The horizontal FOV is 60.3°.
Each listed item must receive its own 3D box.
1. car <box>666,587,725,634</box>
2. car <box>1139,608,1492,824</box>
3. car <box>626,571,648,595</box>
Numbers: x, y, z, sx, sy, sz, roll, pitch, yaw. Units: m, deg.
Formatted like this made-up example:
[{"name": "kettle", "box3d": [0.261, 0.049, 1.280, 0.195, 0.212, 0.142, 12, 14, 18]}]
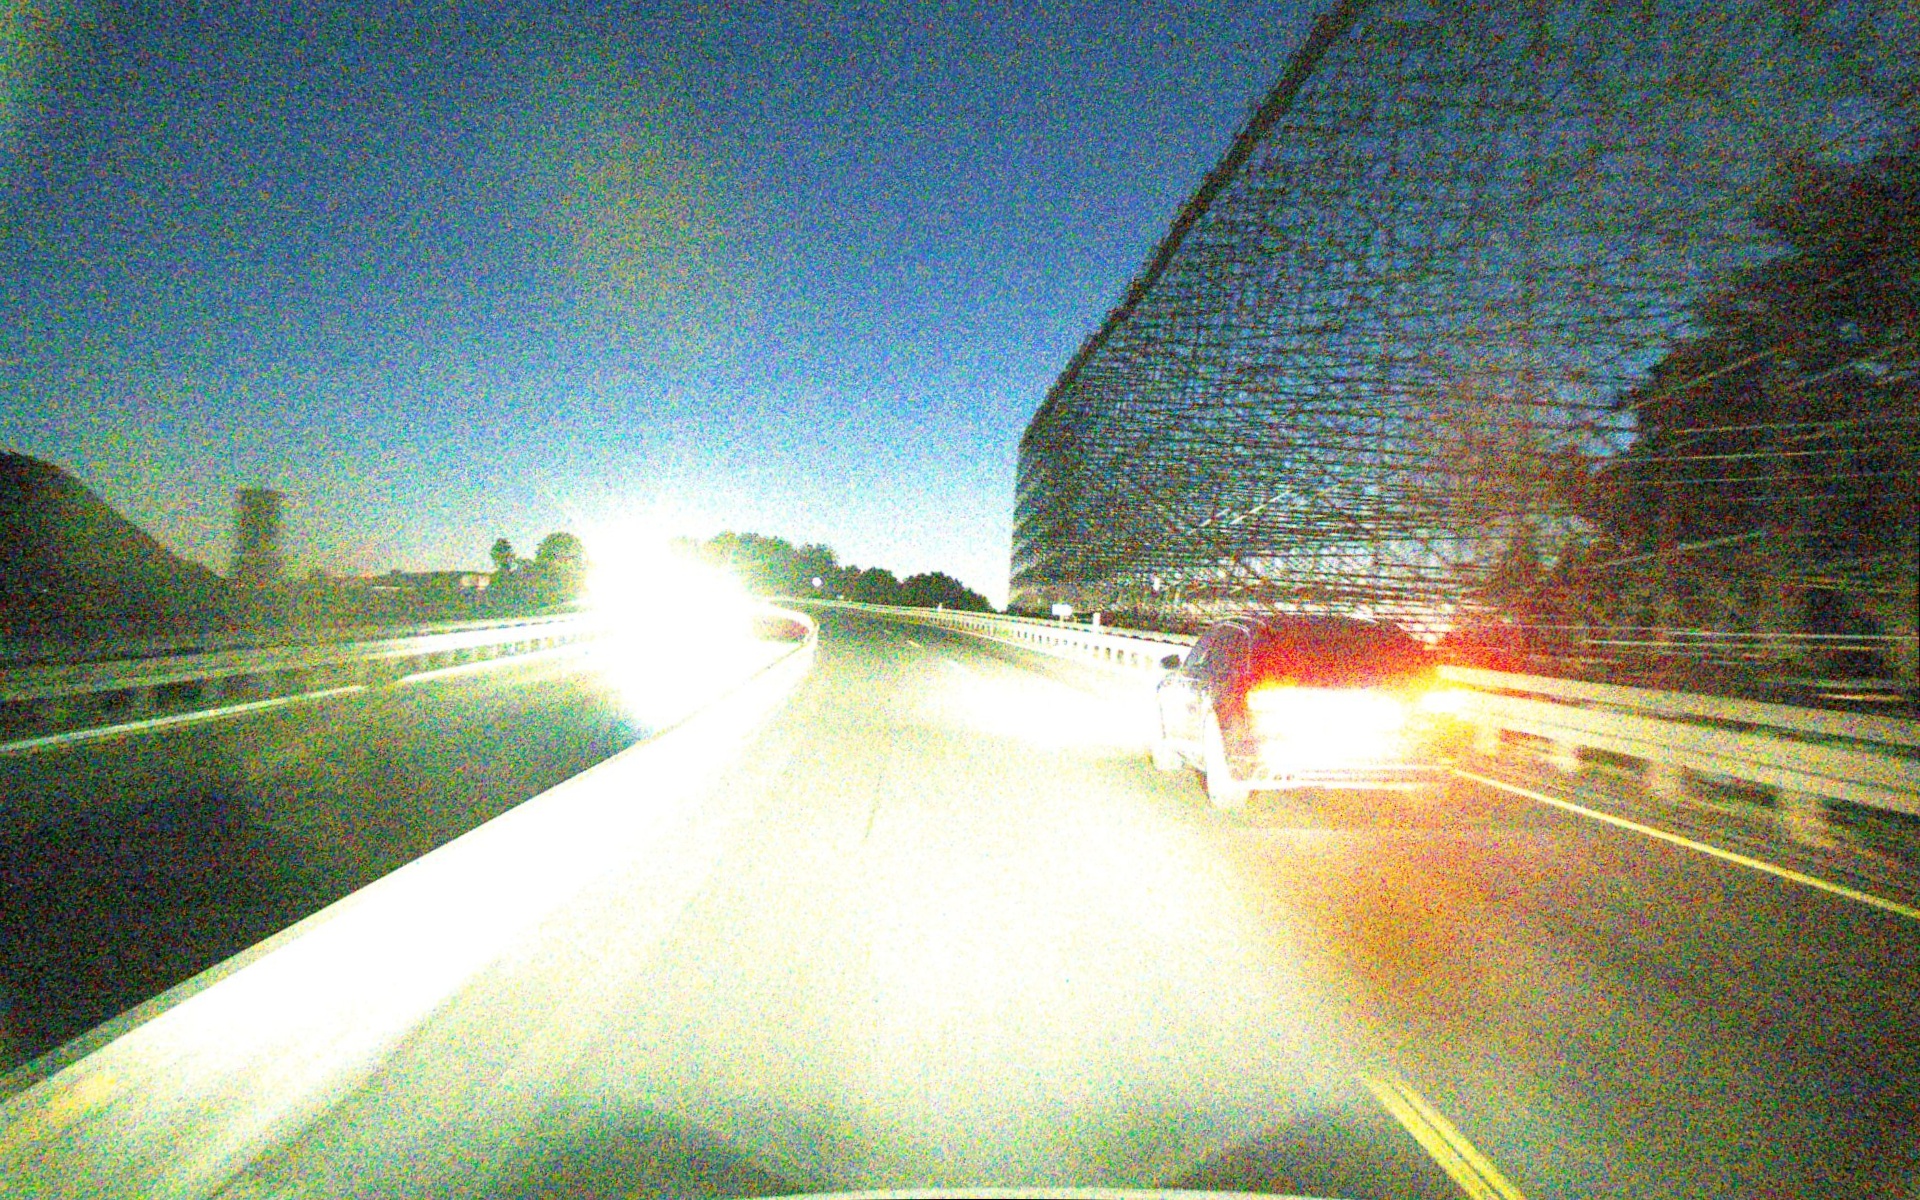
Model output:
[{"name": "car", "box3d": [-9.778, 0.415, 61.450, 1.975, 1.668, 4.854, 0, -1, -7]}, {"name": "car", "box3d": [2.705, 0.807, 13.786, 1.771, 1.451, 4.873, 0, 0, -2]}, {"name": "car", "box3d": [-45.759, -2.346, 234.164, 2.445, 3.160, 7.354, 1, -1, -15]}]
